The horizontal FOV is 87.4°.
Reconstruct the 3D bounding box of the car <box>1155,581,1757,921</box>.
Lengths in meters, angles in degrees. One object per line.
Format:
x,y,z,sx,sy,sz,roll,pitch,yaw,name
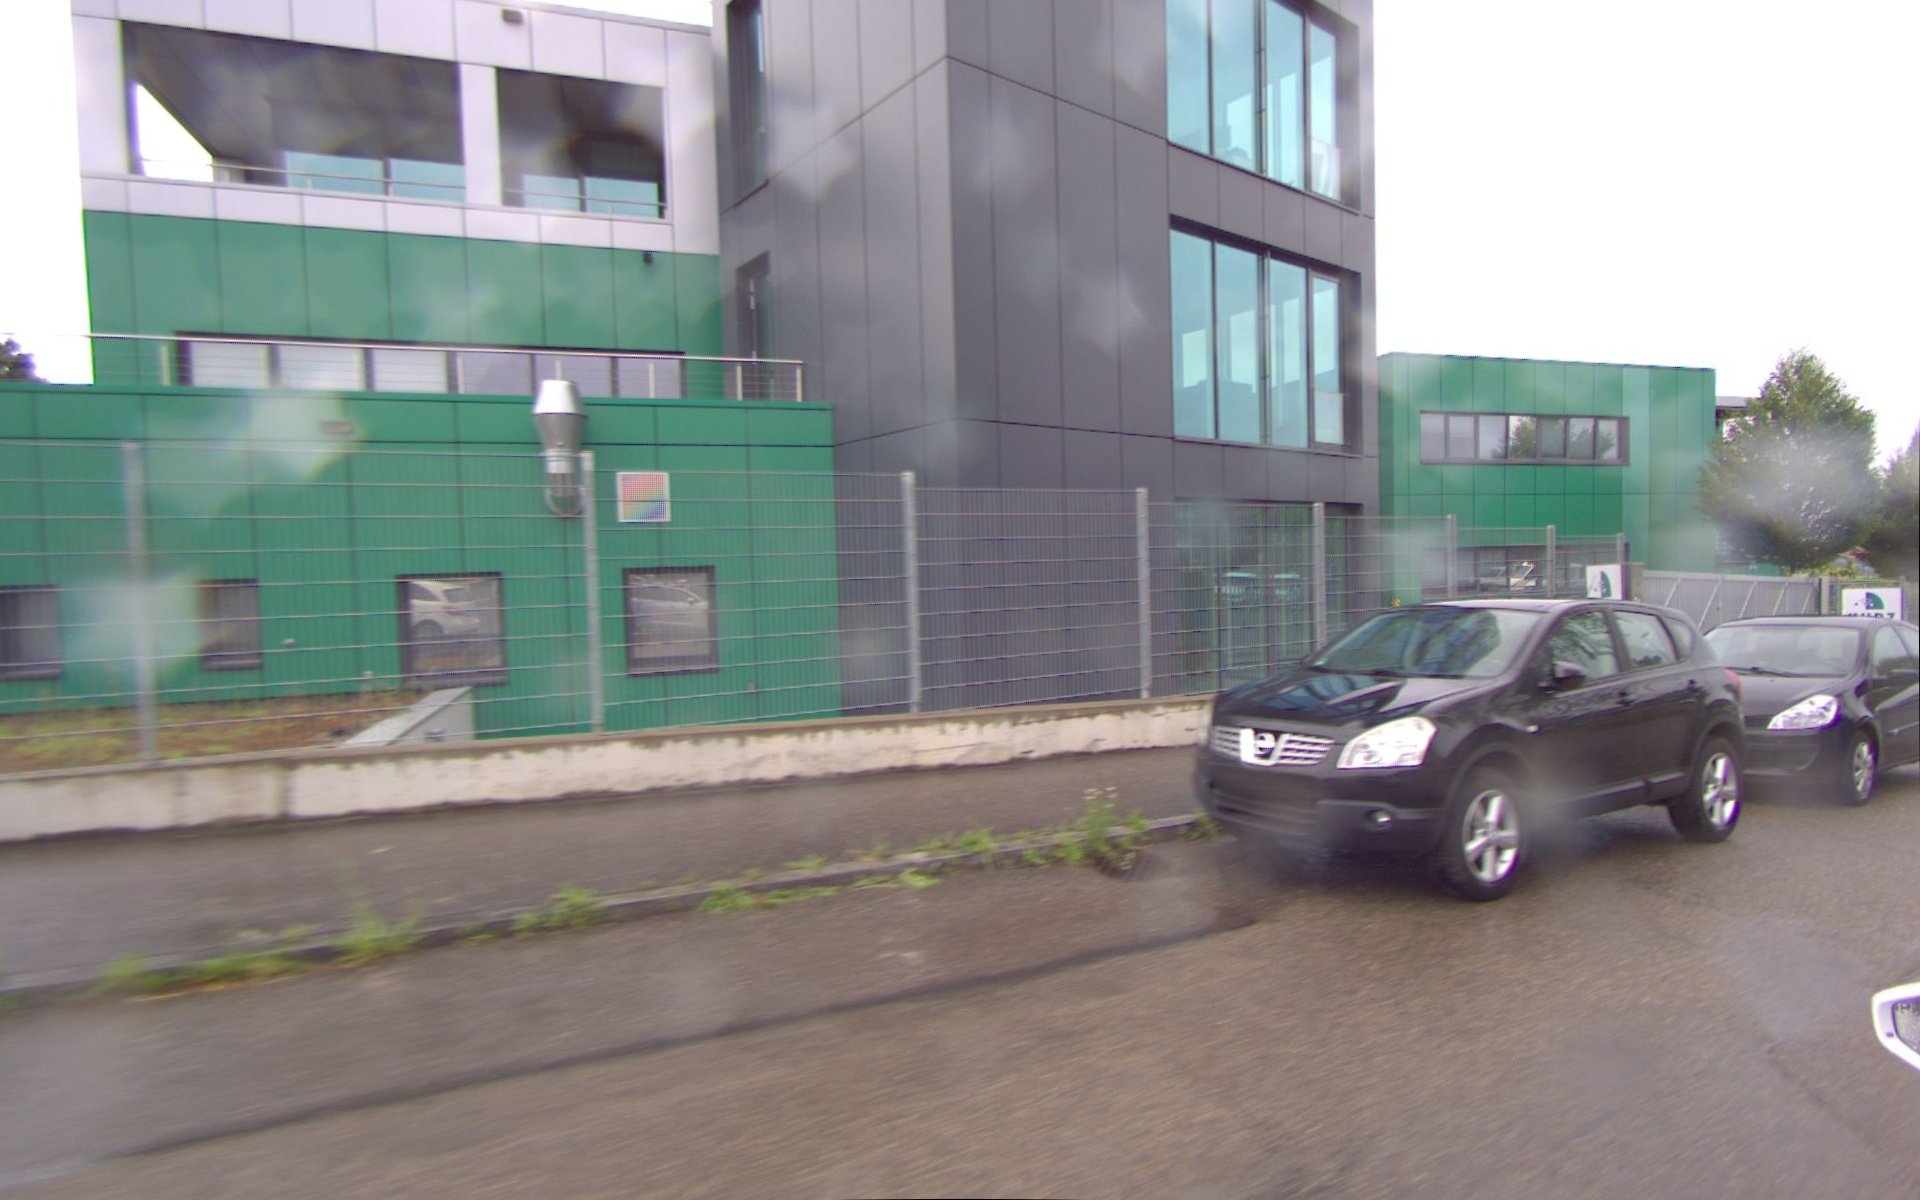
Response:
3.305,0.721,6.460,4.039,1.578,1.623,0,-1,-33,car

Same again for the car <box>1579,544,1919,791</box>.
7.579,0.518,9.192,3.915,1.821,1.730,1,0,-32,car
